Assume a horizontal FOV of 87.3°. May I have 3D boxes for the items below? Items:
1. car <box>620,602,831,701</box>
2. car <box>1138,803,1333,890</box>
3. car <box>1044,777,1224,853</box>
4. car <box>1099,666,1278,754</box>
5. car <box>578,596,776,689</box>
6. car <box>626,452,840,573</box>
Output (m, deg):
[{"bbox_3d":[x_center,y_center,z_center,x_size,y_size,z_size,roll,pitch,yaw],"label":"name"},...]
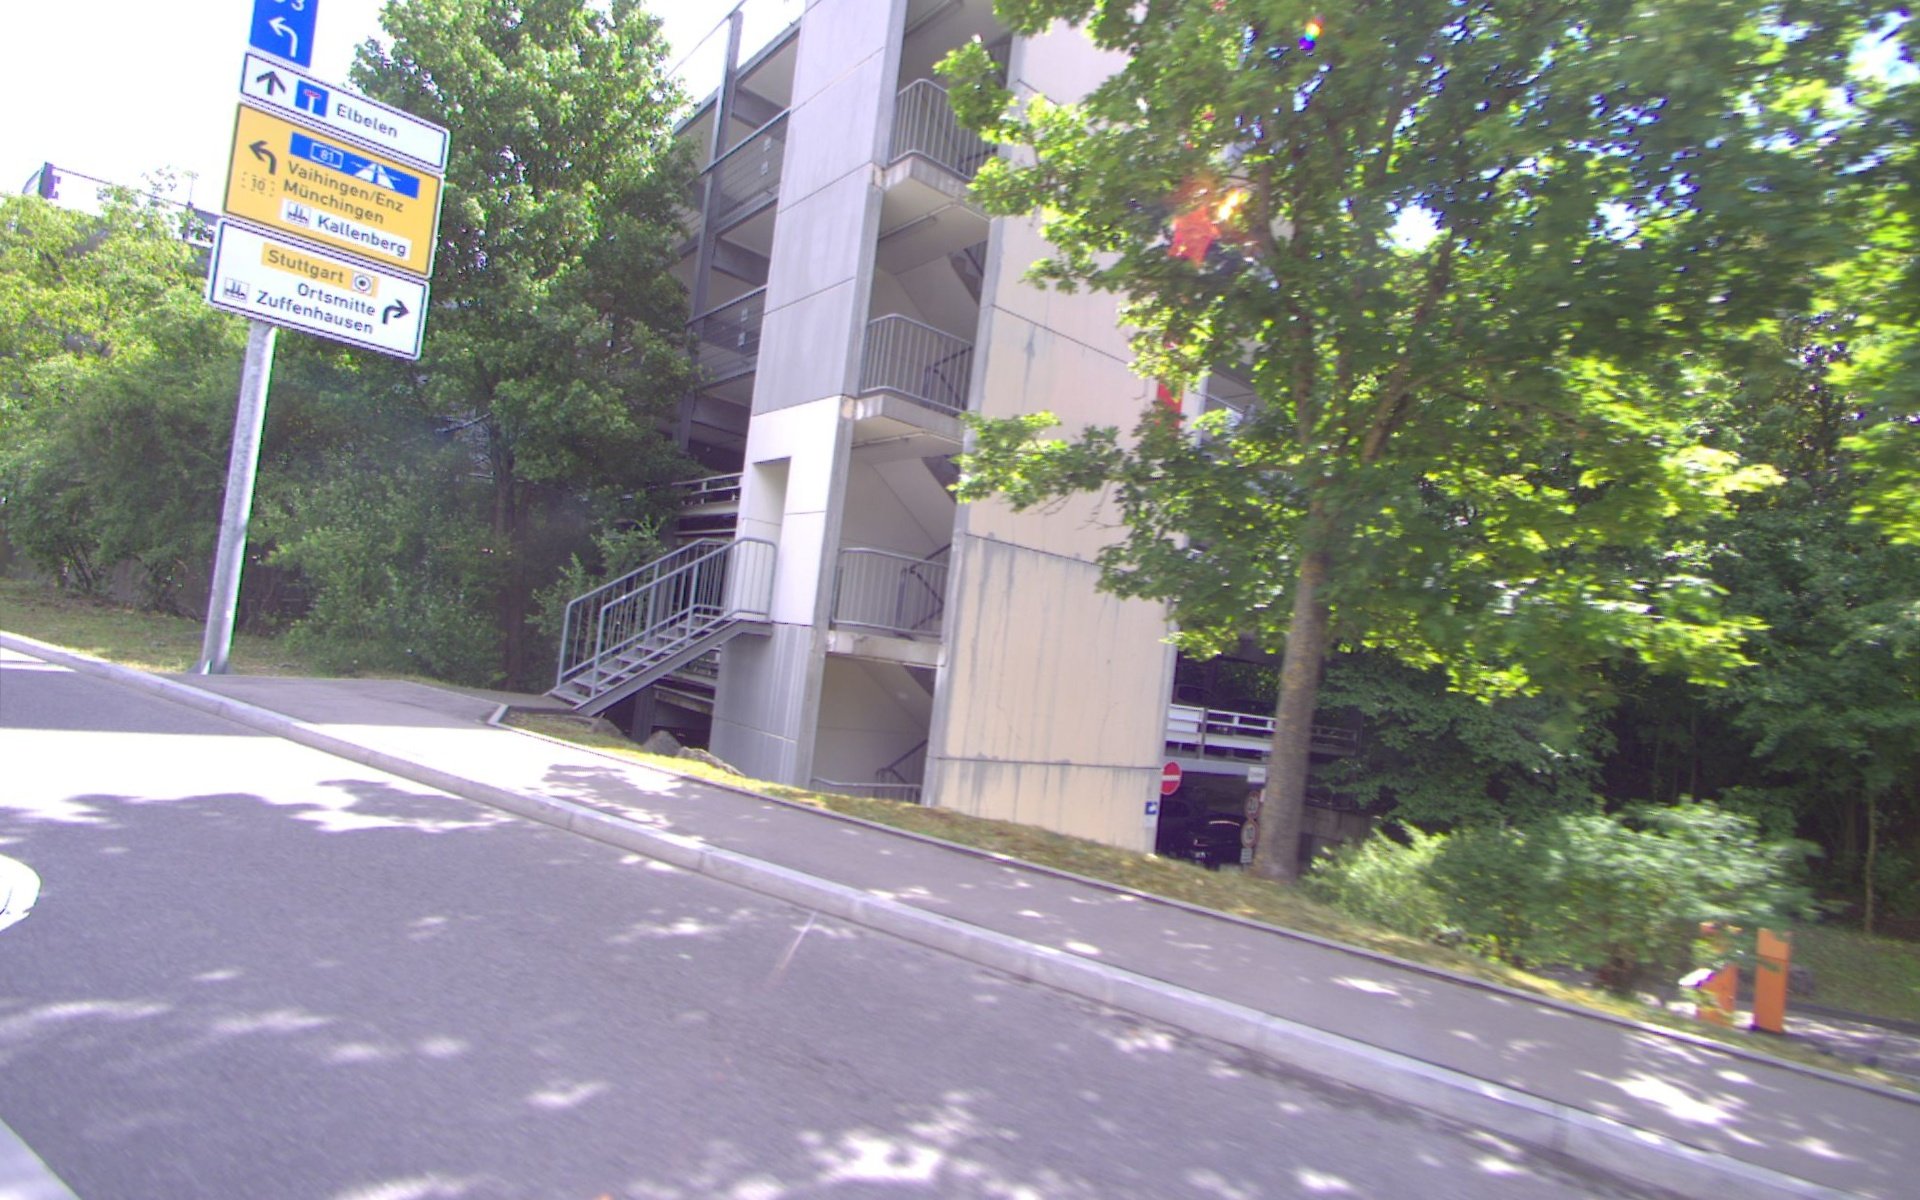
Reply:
[{"bbox_3d":[-4.770,1.080,20.688,3.749,1.486,1.648,10,-3,-39],"label":"car"},{"bbox_3d":[6.489,5.754,23.554,4.290,1.434,1.982,10,-3,-34],"label":"car"},{"bbox_3d":[4.530,5.571,25.979,4.290,1.434,1.982,10,-3,-34],"label":"car"},{"bbox_3d":[5.910,2.839,25.873,4.290,1.648,1.982,10,-3,-34],"label":"car"},{"bbox_3d":[-6.235,0.970,22.347,3.749,1.486,1.648,10,-3,-39],"label":"car"},{"bbox_3d":[-4.543,-1.686,20.374,3.749,1.642,1.648,10,-3,-39],"label":"car"}]
